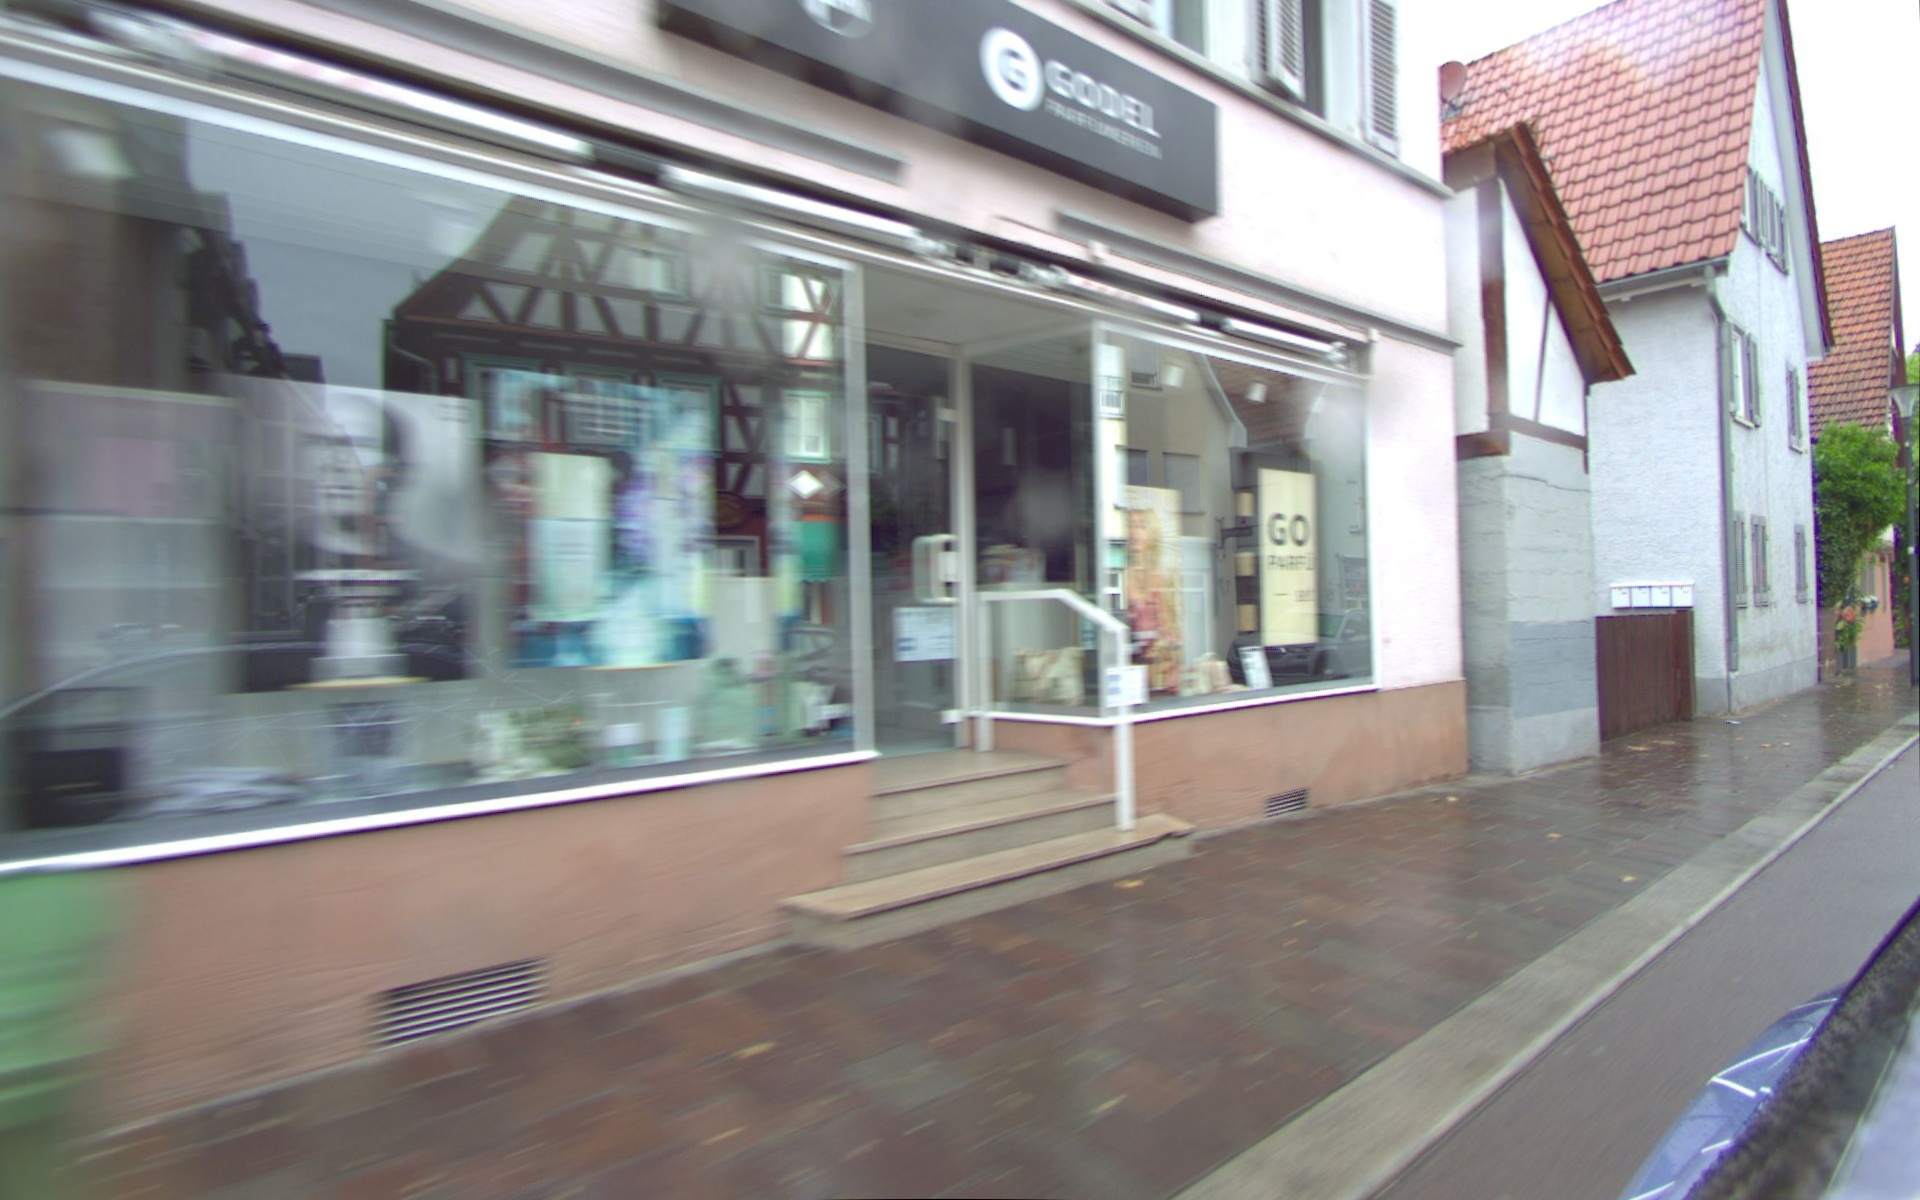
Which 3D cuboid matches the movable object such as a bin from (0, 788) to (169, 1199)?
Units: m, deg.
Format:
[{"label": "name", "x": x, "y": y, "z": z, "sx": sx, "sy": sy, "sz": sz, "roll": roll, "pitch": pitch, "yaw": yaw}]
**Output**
[{"label": "movable object such as a bin", "x": -1.278, "y": 0.846, "z": 1.098, "sx": 0.605, "sy": 1.094, "sz": 0.793, "roll": -1, "pitch": 0, "yaw": -43}]
